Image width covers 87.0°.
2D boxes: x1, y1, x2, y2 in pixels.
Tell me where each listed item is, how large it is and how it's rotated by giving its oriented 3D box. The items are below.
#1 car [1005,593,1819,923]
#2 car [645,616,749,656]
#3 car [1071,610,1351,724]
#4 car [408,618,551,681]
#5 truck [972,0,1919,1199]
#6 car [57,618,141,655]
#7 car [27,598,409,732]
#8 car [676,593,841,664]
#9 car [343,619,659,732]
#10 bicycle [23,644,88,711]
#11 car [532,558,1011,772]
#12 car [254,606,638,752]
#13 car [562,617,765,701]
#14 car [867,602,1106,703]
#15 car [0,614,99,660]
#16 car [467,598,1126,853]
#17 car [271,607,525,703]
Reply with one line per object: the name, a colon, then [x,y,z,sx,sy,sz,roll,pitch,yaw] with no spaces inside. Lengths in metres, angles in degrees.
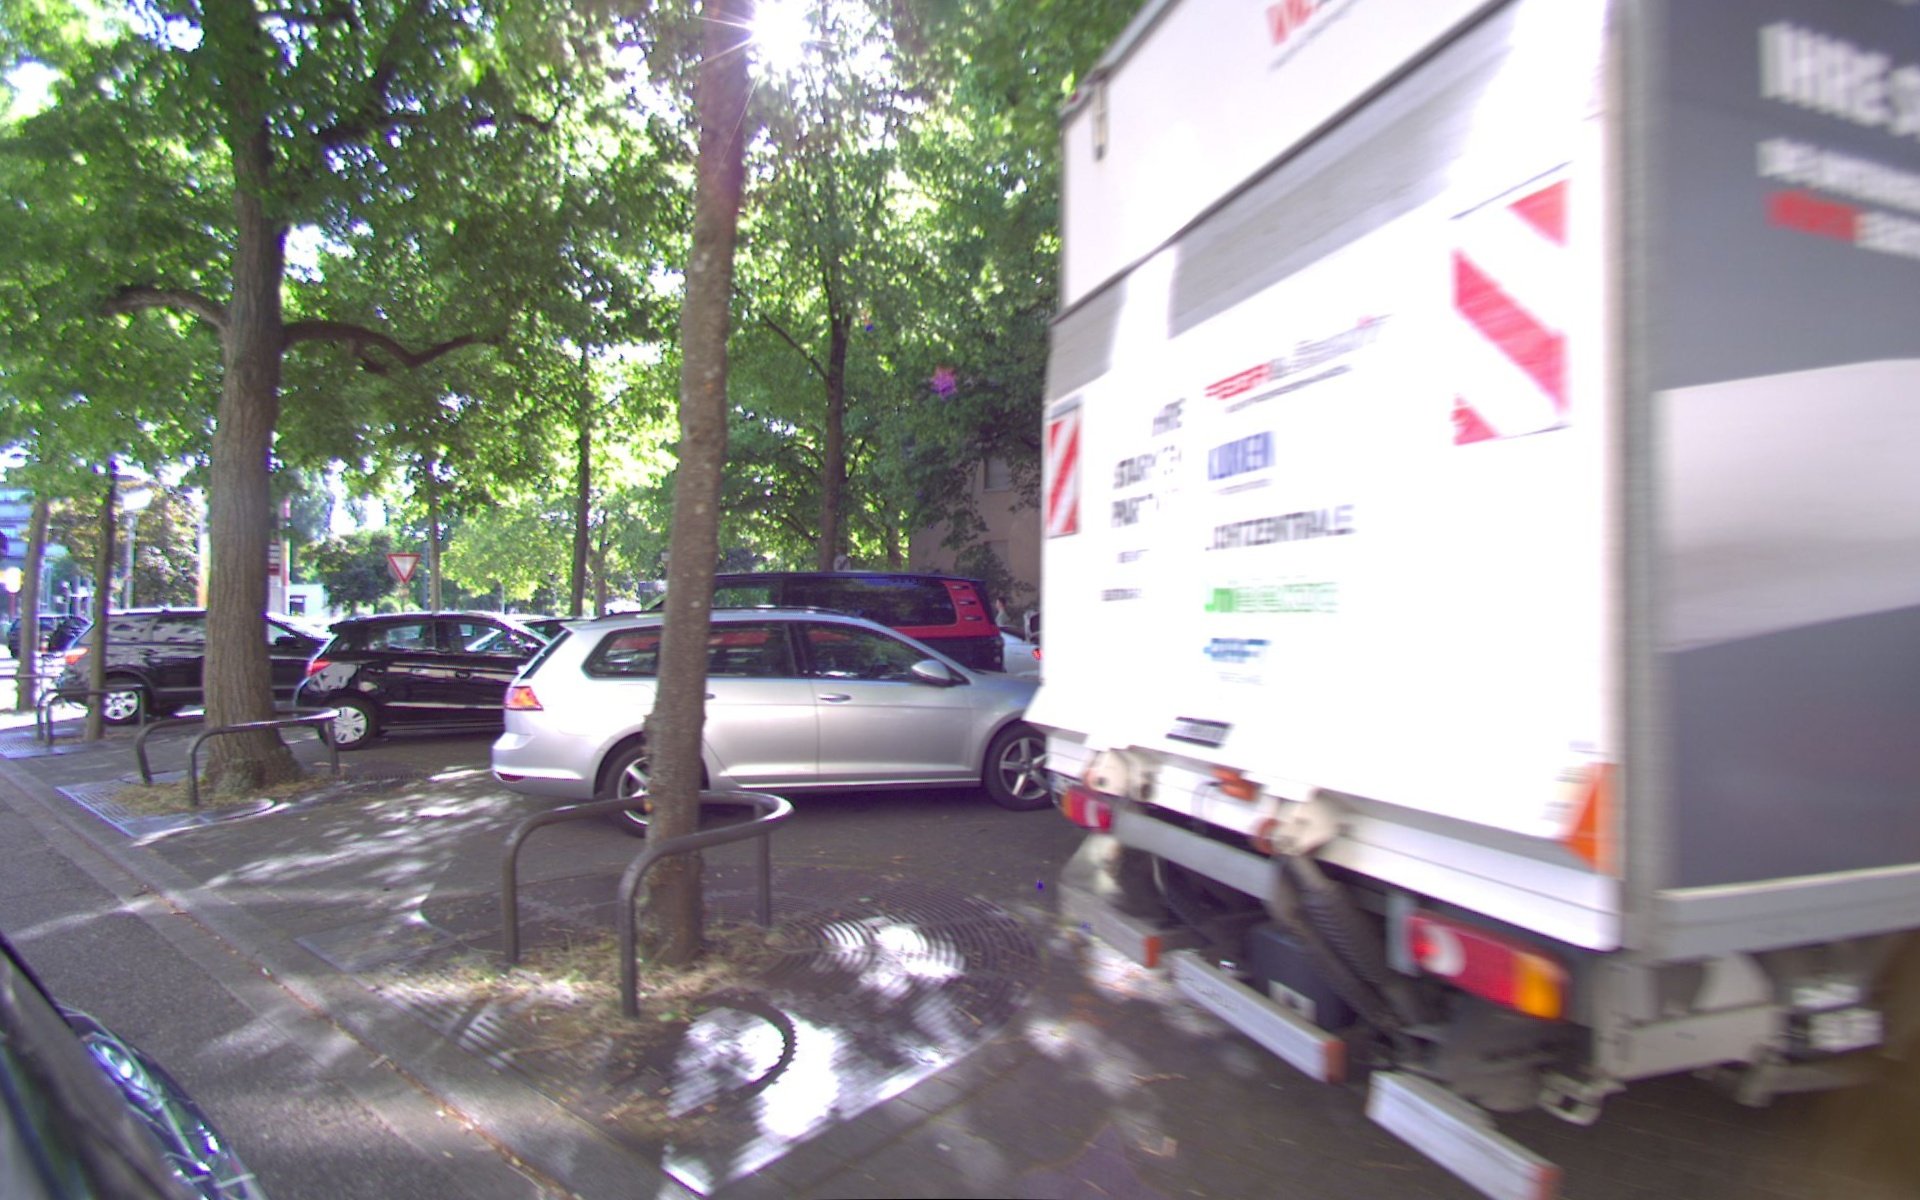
car: [2.593,0.748,6.100,4.270,1.518,1.819,0,-1,-15]
car: [-10.839,1.485,42.086,1.893,1.564,4.449,-1,-2,23]
car: [3.875,0.964,15.975,3.947,1.581,1.735,-1,-2,42]
car: [-12.806,1.251,26.864,4.298,1.530,1.883,-1,-2,41]
truck: [3.871,-0.268,3.615,7.199,3.319,2.555,1,-2,-18]
car: [-36.789,1.537,43.340,1.655,1.519,3.608,1,-1,-21]
car: [-10.865,0.892,15.223,4.262,1.684,1.843,-2,-1,-19]
car: [-4.744,0.642,23.609,3.947,1.523,1.736,-1,-1,41]
car: [-6.465,0.986,14.508,3.880,1.433,1.827,0,-1,-25]
bicycle: [-15.388,1.304,17.213,1.586,1.080,0.350,-1,-2,31]
car: [-1.892,0.593,10.439,4.426,1.887,1.941,0,-1,-15]
car: [-5.805,0.840,11.895,3.757,1.492,1.767,0,-1,-21]
car: [-5.845,1.084,19.830,3.939,1.498,1.739,-1,-1,34]
car: [0.405,0.898,18.655,4.242,1.652,1.736,-1,-1,39]
car: [-32.825,1.288,36.454,1.655,1.519,3.608,-2,-1,-21]
car: [-1.132,0.772,7.493,4.270,1.518,1.819,0,-1,-15]
car: [-10.362,0.977,18.897,3.931,1.623,1.928,1,-2,-28]
